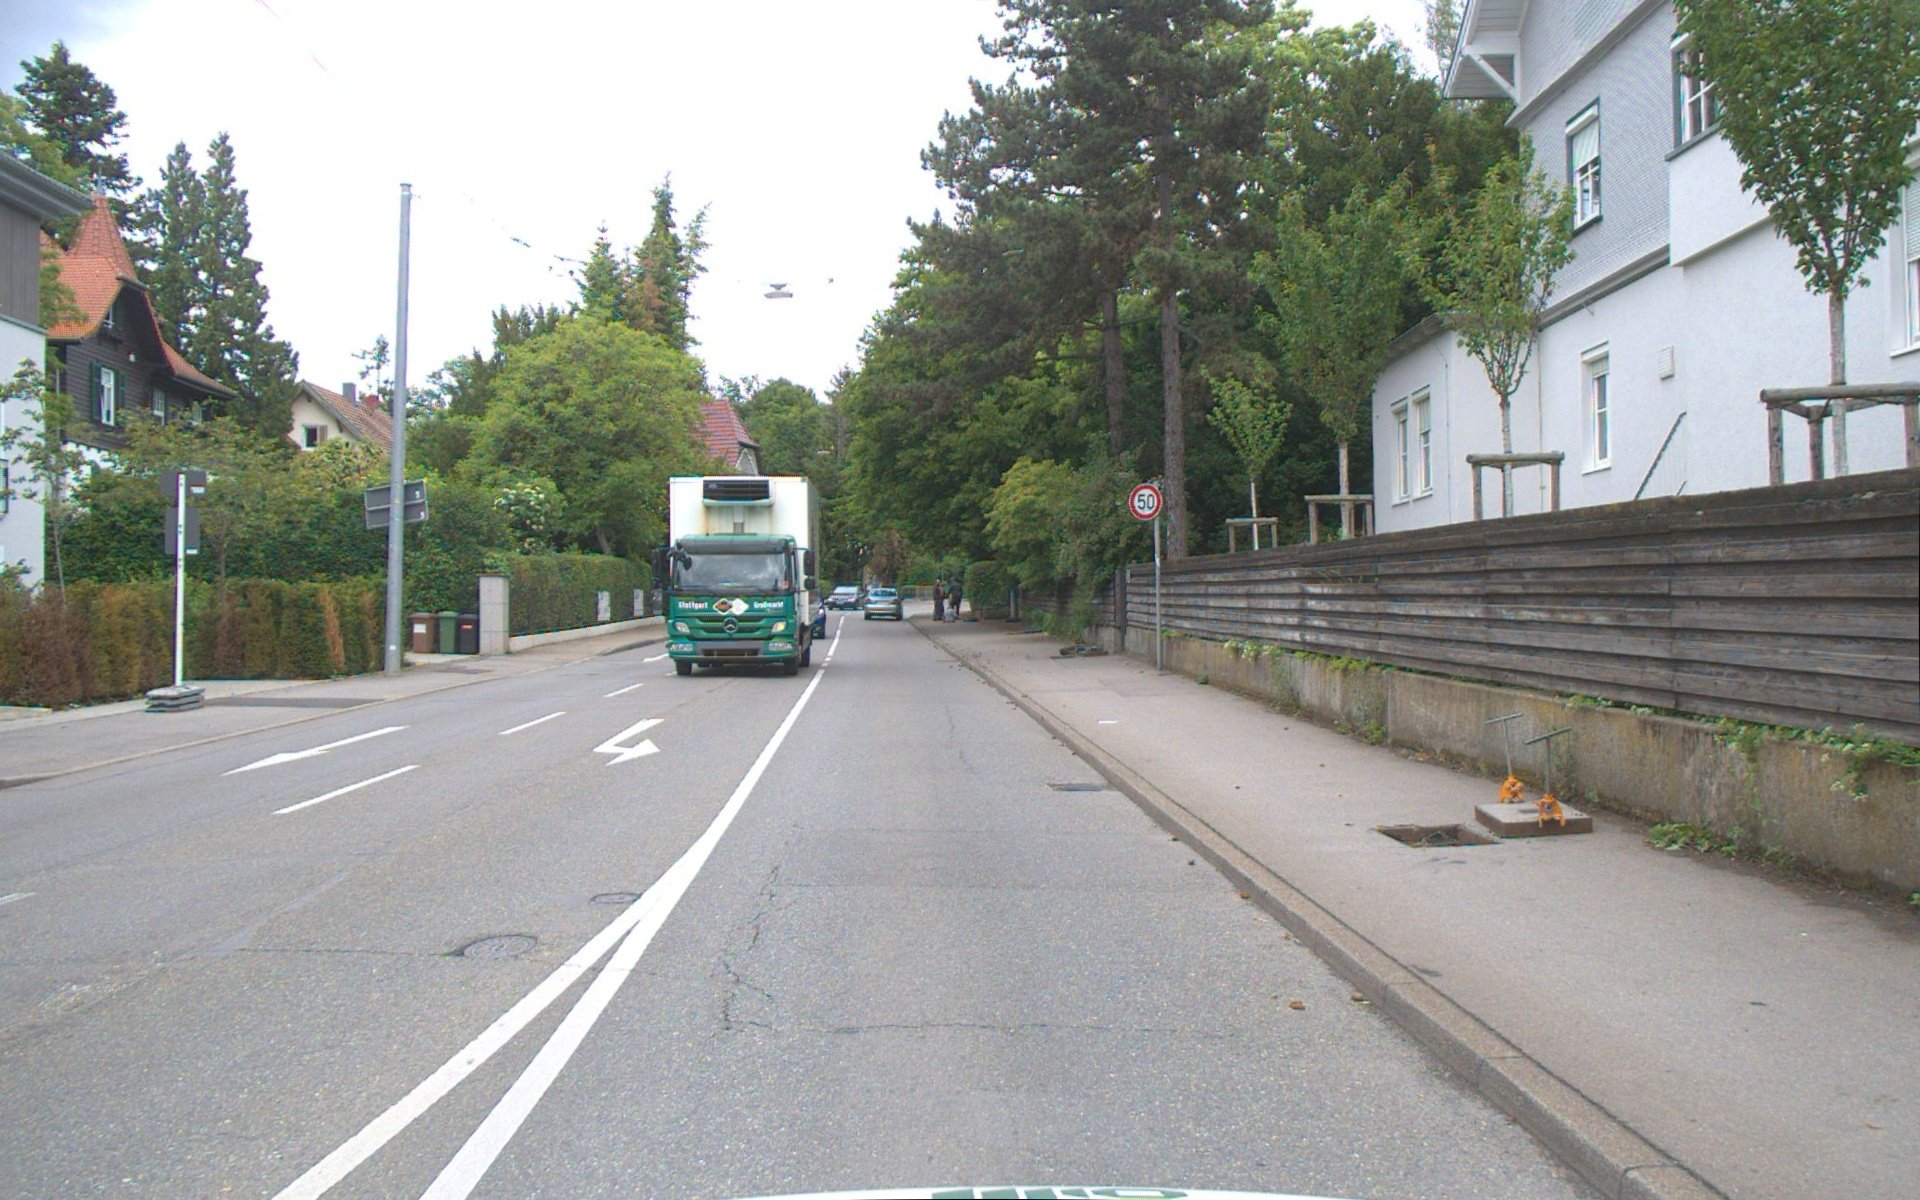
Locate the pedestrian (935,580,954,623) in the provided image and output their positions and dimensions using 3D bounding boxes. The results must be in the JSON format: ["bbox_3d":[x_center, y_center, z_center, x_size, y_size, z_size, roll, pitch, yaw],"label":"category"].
[{"bbox_3d":[-0.663,0.049,70.549,0.590,1.839,0.516,0,0,37],"label":"pedestrian"}]

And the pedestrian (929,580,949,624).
[{"bbox_3d":[-0.894,0.076,69.614,0.791,1.839,0.740,0,0,-4],"label":"pedestrian"}]

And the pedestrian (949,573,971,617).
[{"bbox_3d":[0.000,-0.204,70.350,0.686,1.839,0.662,0,0,-44],"label":"pedestrian"}]

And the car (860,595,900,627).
[{"bbox_3d":[-3.658,0.522,76.168,1.761,1.440,4.333,-1,-1,-2],"label":"car"}]

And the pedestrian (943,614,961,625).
[{"bbox_3d":[-0.332,0.796,67.269,0.659,0.400,0.740,-1,0,-4],"label":"pedestrian"}]

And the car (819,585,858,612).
[{"bbox_3d":[-7.049,-0.098,96.359,1.645,1.497,4.020,0,0,5],"label":"car"}]

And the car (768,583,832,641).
[{"bbox_3d":[-5.184,0.364,53.173,1.773,1.747,4.369,-1,0,-9],"label":"car"}]

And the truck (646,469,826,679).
[{"bbox_3d":[-4.090,-0.388,31.763,2.722,3.522,7.489,-1,-1,-3],"label":"truck"}]
